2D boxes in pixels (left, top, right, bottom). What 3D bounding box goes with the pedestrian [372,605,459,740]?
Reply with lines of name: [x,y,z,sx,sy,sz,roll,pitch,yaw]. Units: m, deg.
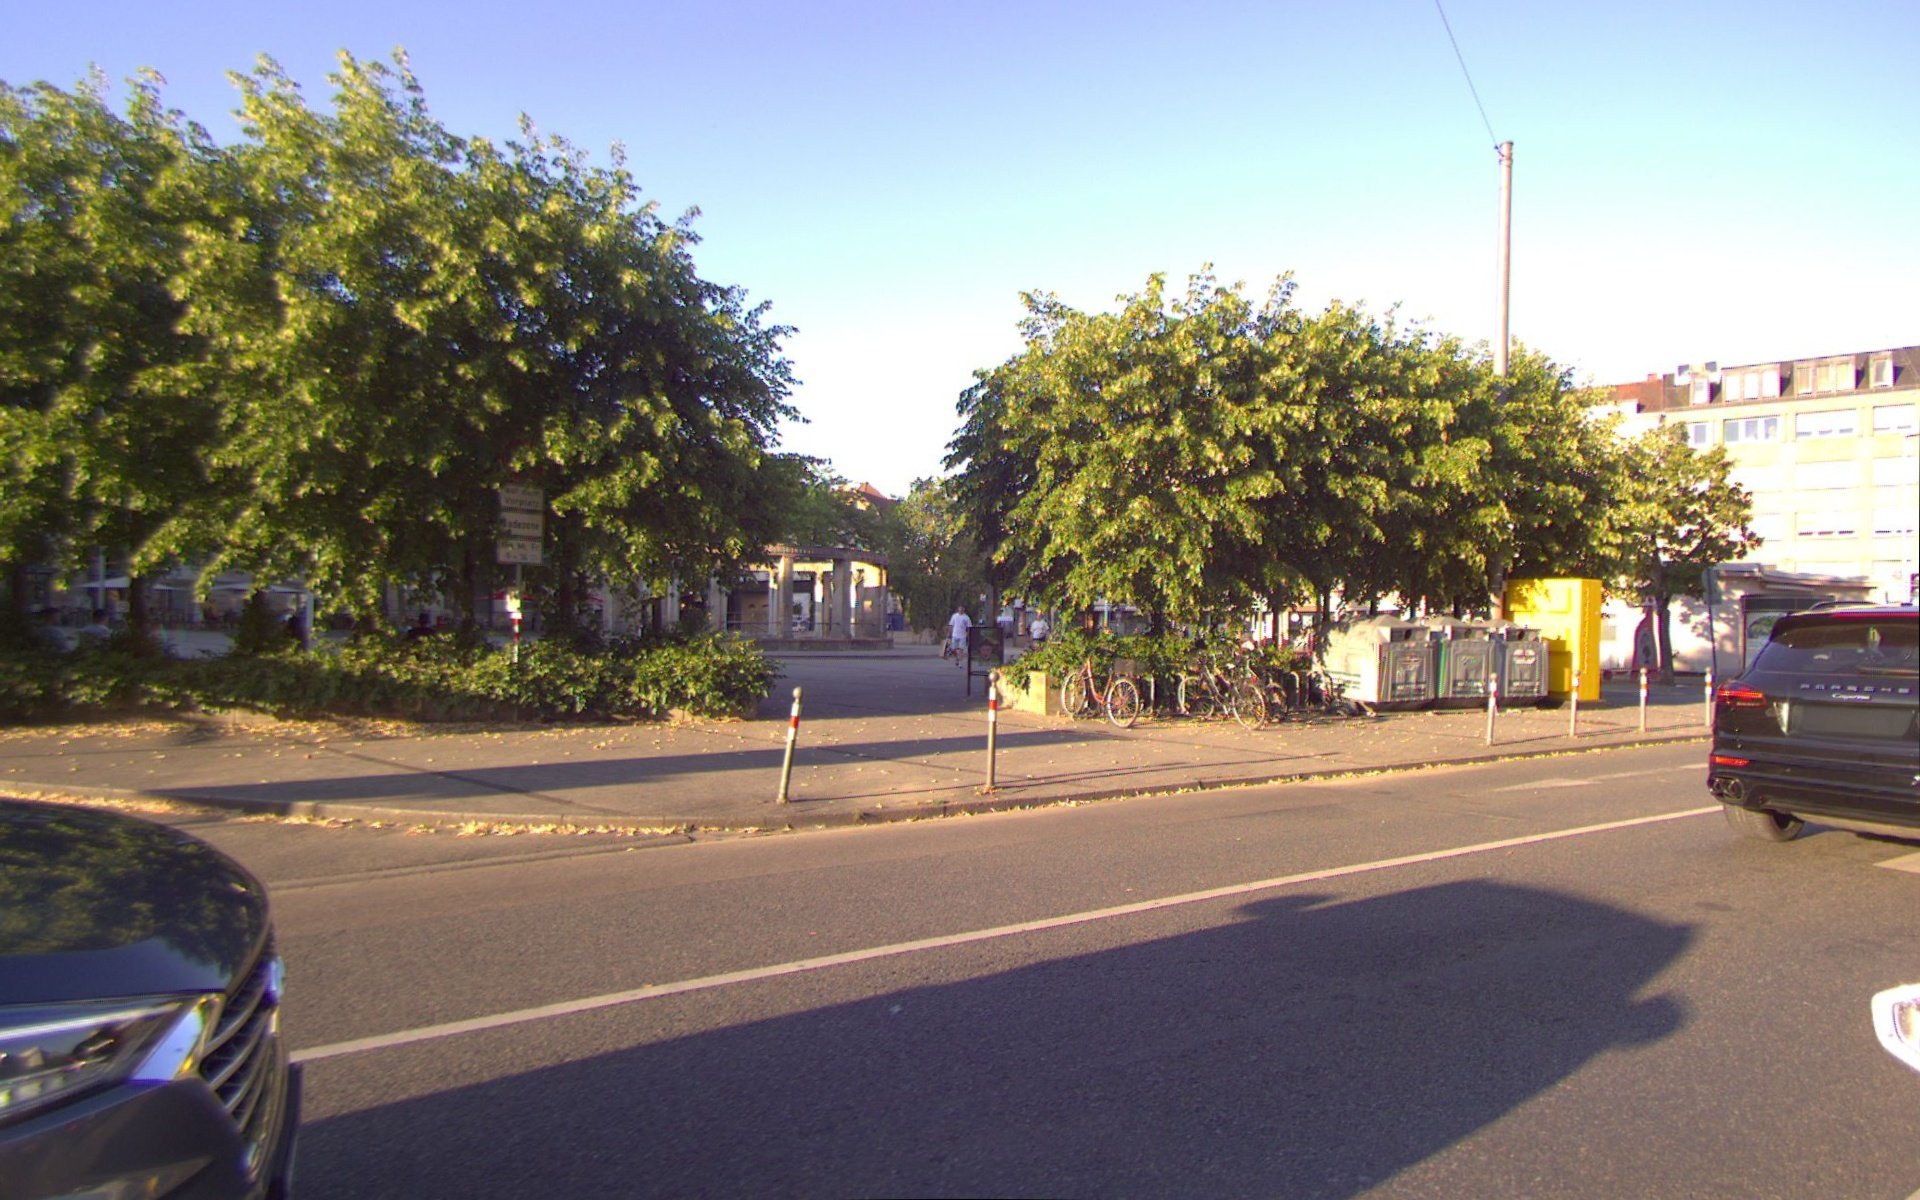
pedestrian: [-8.472,1.106,15.666,0.840,2.040,0.906,1,-1,-3]

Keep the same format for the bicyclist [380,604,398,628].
bicyclist: [-35.695,1.031,62.781,0.630,1.467,0.768,2,0,37]

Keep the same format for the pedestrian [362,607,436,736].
pedestrian: [-9.214,1.141,16.498,0.850,2.040,0.895,1,-1,-43]

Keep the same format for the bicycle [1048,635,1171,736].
bicycle: [2.133,1.192,14.576,0.543,1.269,2.013,1,0,-33]

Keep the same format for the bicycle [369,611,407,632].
bicycle: [-35.731,1.364,62.769,0.571,1.277,2.023,2,0,36]

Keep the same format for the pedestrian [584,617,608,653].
pedestrian: [-11.294,1.076,31.172,0.575,1.077,0.462,0,1,-1]

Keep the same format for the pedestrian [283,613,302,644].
pedestrian: [-23.401,0.990,35.230,0.525,1.077,0.457,-1,2,-36]

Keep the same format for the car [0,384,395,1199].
car: [-3.039,0.616,0.850,4.399,1.711,1.863,1,-2,-32]

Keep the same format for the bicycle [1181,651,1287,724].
bicycle: [4.284,1.351,15.806,0.543,0.992,1.663,1,0,-33]

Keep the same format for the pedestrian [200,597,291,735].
pedestrian: [-10.925,0.994,15.390,0.725,2.040,0.906,1,-1,-3]

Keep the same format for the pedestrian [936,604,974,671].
pedestrian: [-0.129,1.007,27.252,0.878,1.748,0.736,2,0,8]

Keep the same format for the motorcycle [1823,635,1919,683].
motorcycle: [29.943,1.902,32.784,0.857,1.448,2.571,1,-1,-28]

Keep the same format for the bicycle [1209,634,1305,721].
bicycle: [4.769,1.214,16.207,0.440,1.269,1.578,1,0,-31]

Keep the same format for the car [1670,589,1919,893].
car: [7.289,0.858,7.144,4.507,1.737,1.940,1,-2,-30]

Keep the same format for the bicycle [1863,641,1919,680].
bicycle: [32.502,2.089,34.703,0.625,1.273,1.846,1,-1,-28]

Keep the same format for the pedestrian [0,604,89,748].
pedestrian: [-13.511,1.083,14.706,0.725,2.040,0.905,1,-1,-6]

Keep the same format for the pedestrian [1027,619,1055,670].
pedestrian: [2.650,1.453,32.960,0.824,1.642,0.705,2,0,8]

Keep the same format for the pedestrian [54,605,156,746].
pedestrian: [-12.810,1.110,15.086,0.725,2.040,0.906,1,-1,-3]

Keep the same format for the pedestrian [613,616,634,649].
pedestrian: [-11.037,1.059,32.928,0.519,1.077,0.462,0,1,-1]

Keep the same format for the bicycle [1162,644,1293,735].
bicycle: [3.903,1.281,14.828,0.543,1.149,2.013,1,0,-33]

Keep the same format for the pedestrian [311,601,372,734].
pedestrian: [-9.758,1.039,15.876,0.730,2.040,0.872,1,-1,-28]

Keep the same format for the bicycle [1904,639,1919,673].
bicycle: [36.333,2.093,37.055,0.938,1.273,1.997,1,-1,-28]

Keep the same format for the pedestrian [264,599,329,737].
pedestrian: [-10.199,1.021,15.459,0.730,2.040,0.759,1,-1,-28]

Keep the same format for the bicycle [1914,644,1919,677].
bicycle: [37.480,2.296,37.627,0.777,1.273,2.433,1,-1,-28]
